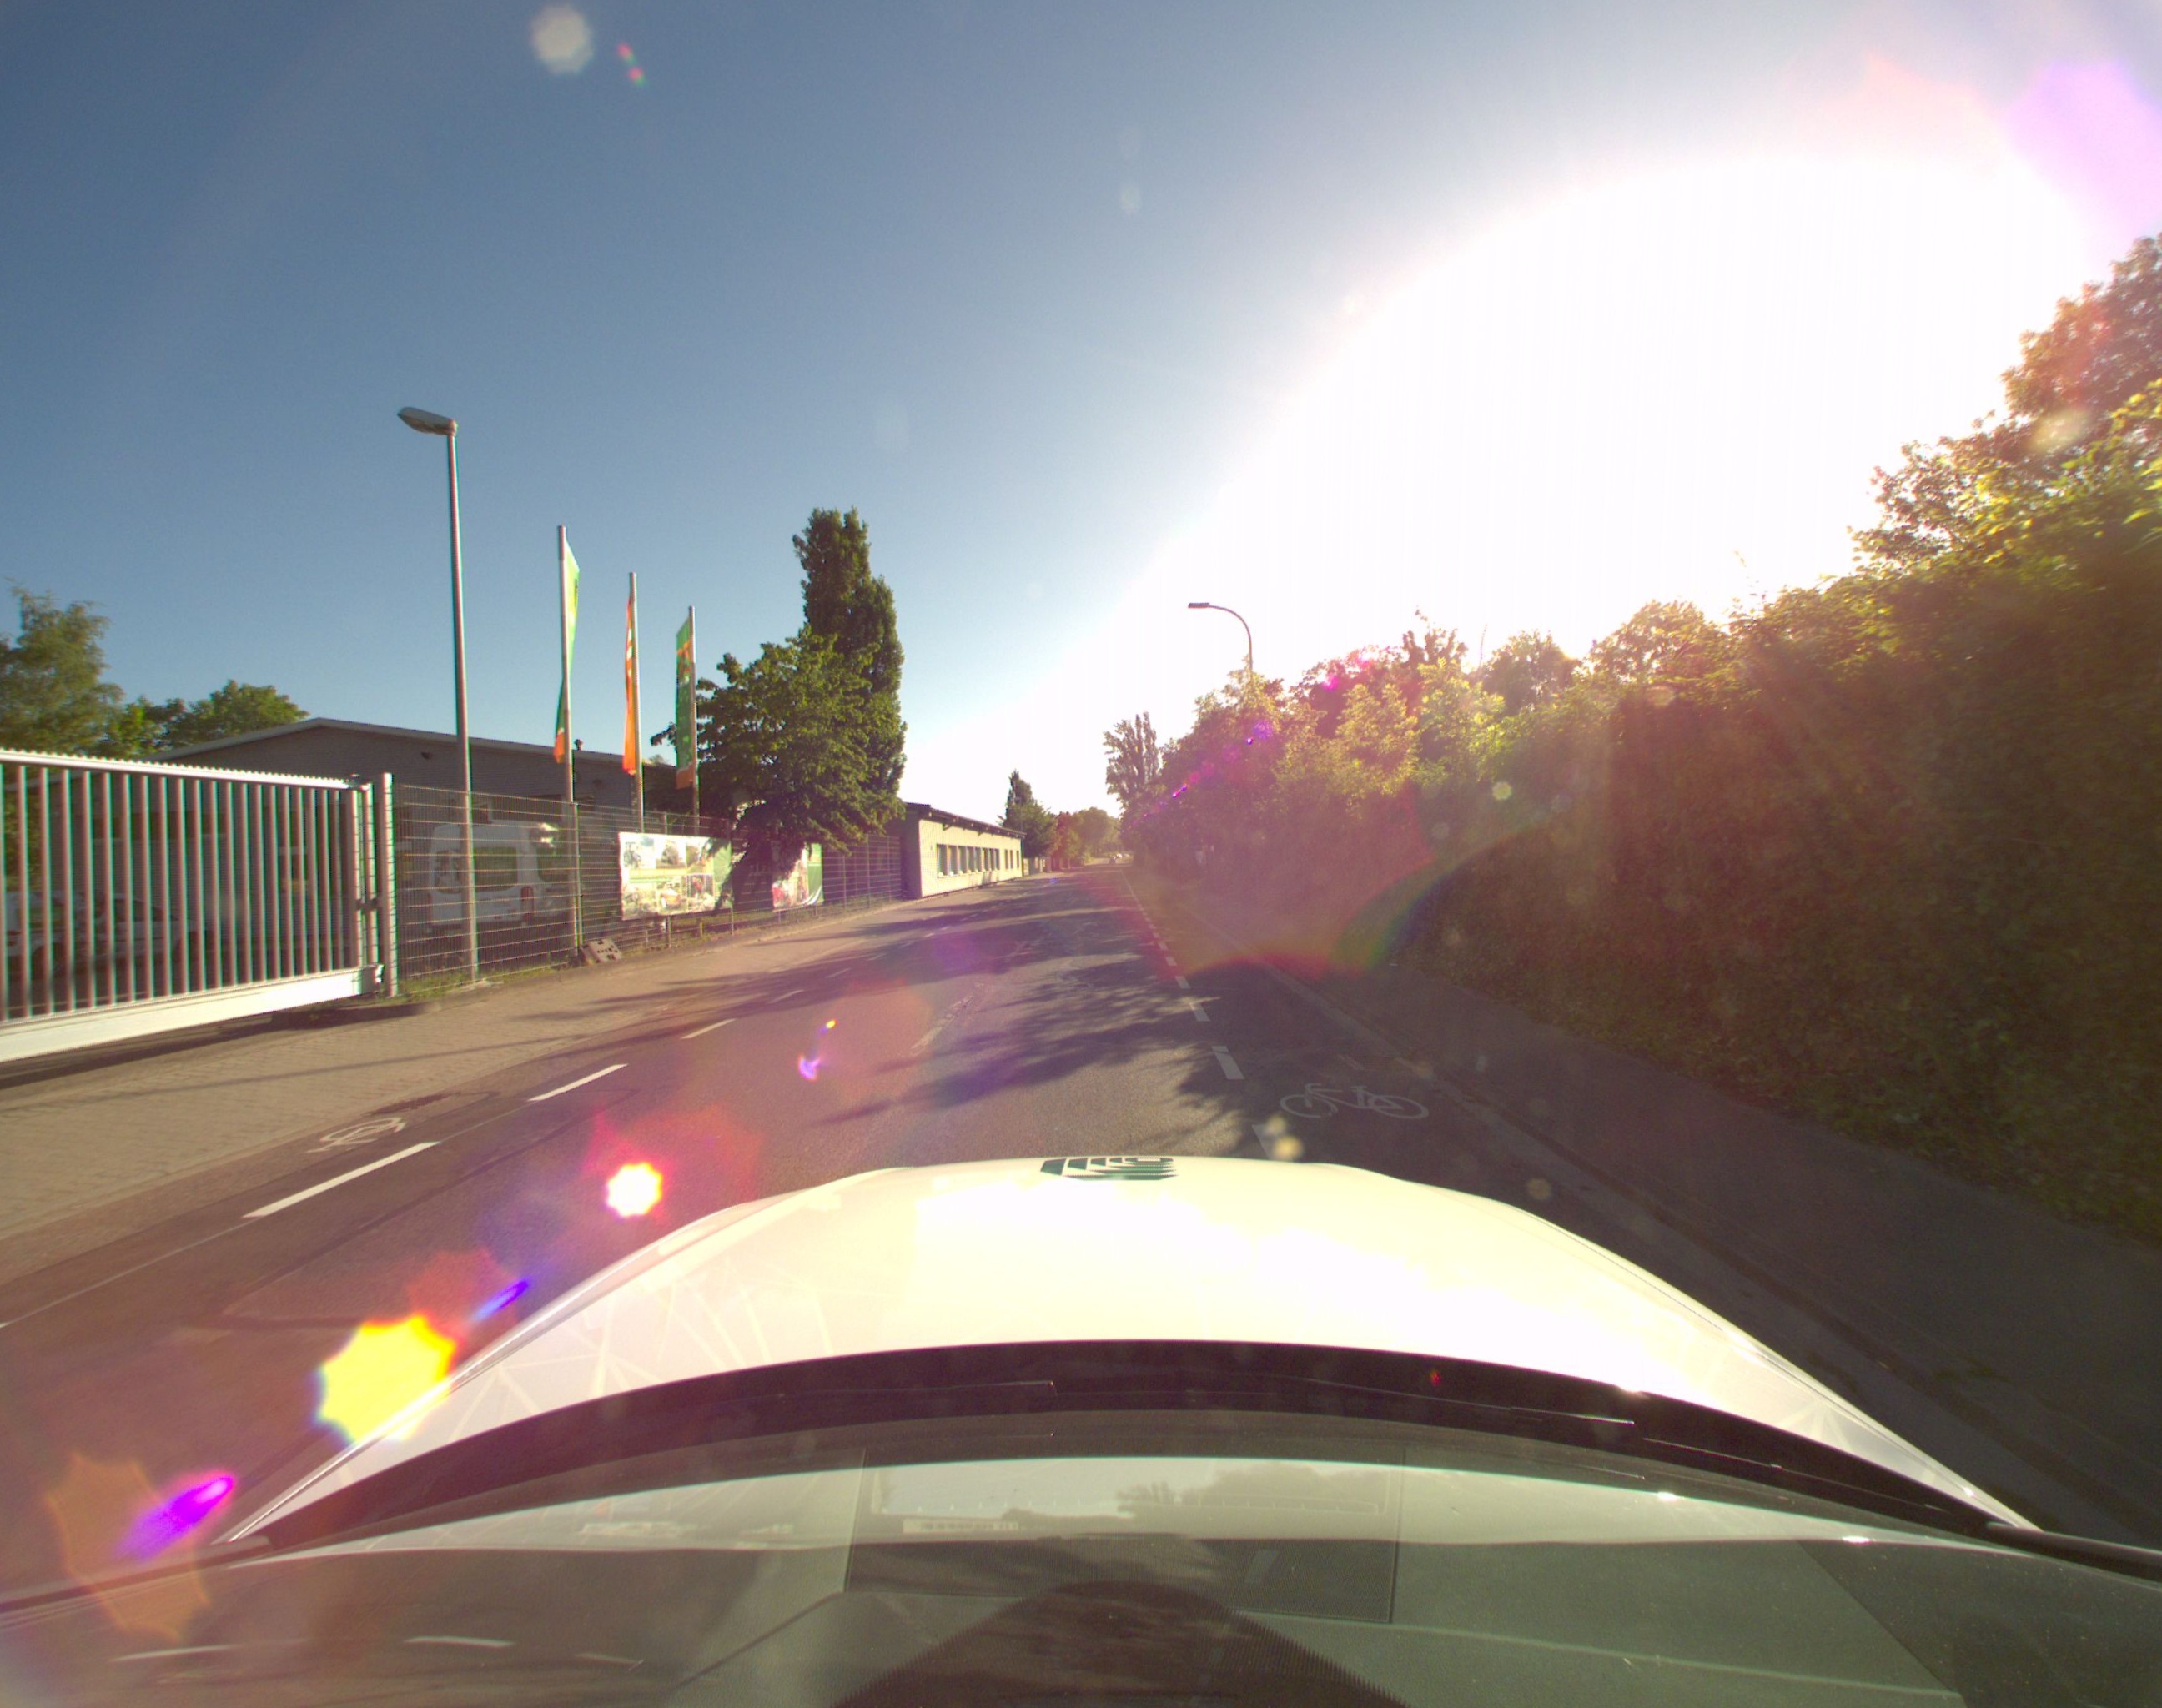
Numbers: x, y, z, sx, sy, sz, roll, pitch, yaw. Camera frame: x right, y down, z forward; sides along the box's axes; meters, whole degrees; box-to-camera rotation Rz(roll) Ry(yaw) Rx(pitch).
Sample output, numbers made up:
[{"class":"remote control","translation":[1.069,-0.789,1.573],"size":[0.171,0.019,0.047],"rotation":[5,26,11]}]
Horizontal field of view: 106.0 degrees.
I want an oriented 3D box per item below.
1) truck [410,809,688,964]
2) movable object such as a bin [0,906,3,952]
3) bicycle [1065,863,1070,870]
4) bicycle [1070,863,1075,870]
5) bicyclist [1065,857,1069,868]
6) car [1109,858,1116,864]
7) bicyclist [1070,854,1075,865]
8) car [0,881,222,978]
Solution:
[{"class":"truck","translation":[-11.235,0.627,17.933],"size":[2.071,2.761,5.767],"rotation":[-3,-1,2]},{"class":"movable object such as a bin","translation":[-40.223,2.781,29.005],"size":[1.787,1.670,1.360],"rotation":[-3,0,-1]},{"class":"bicycle","translation":[-2.038,1.829,122.138],"size":[0.560,1.034,1.351],"rotation":[-1,-1,2]},{"class":"bicycle","translation":[-1.216,1.815,121.557],"size":[0.686,1.034,1.351],"rotation":[-1,-1,2]},{"class":"bicyclist","translation":[-2.042,1.269,122.070],"size":[0.558,1.534,0.689],"rotation":[-1,-1,2]},{"class":"car","translation":[8.914,1.930,230.097],"size":[1.934,1.651,4.311],"rotation":[-1,-1,2]},{"class":"bicyclist","translation":[-1.230,0.846,121.685],"size":[0.686,1.532,0.723],"rotation":[-1,-1,2]},{"class":"car","translation":[-22.263,1.606,18.082],"size":[1.986,1.815,4.001],"rotation":[-3,-1,2]}]
